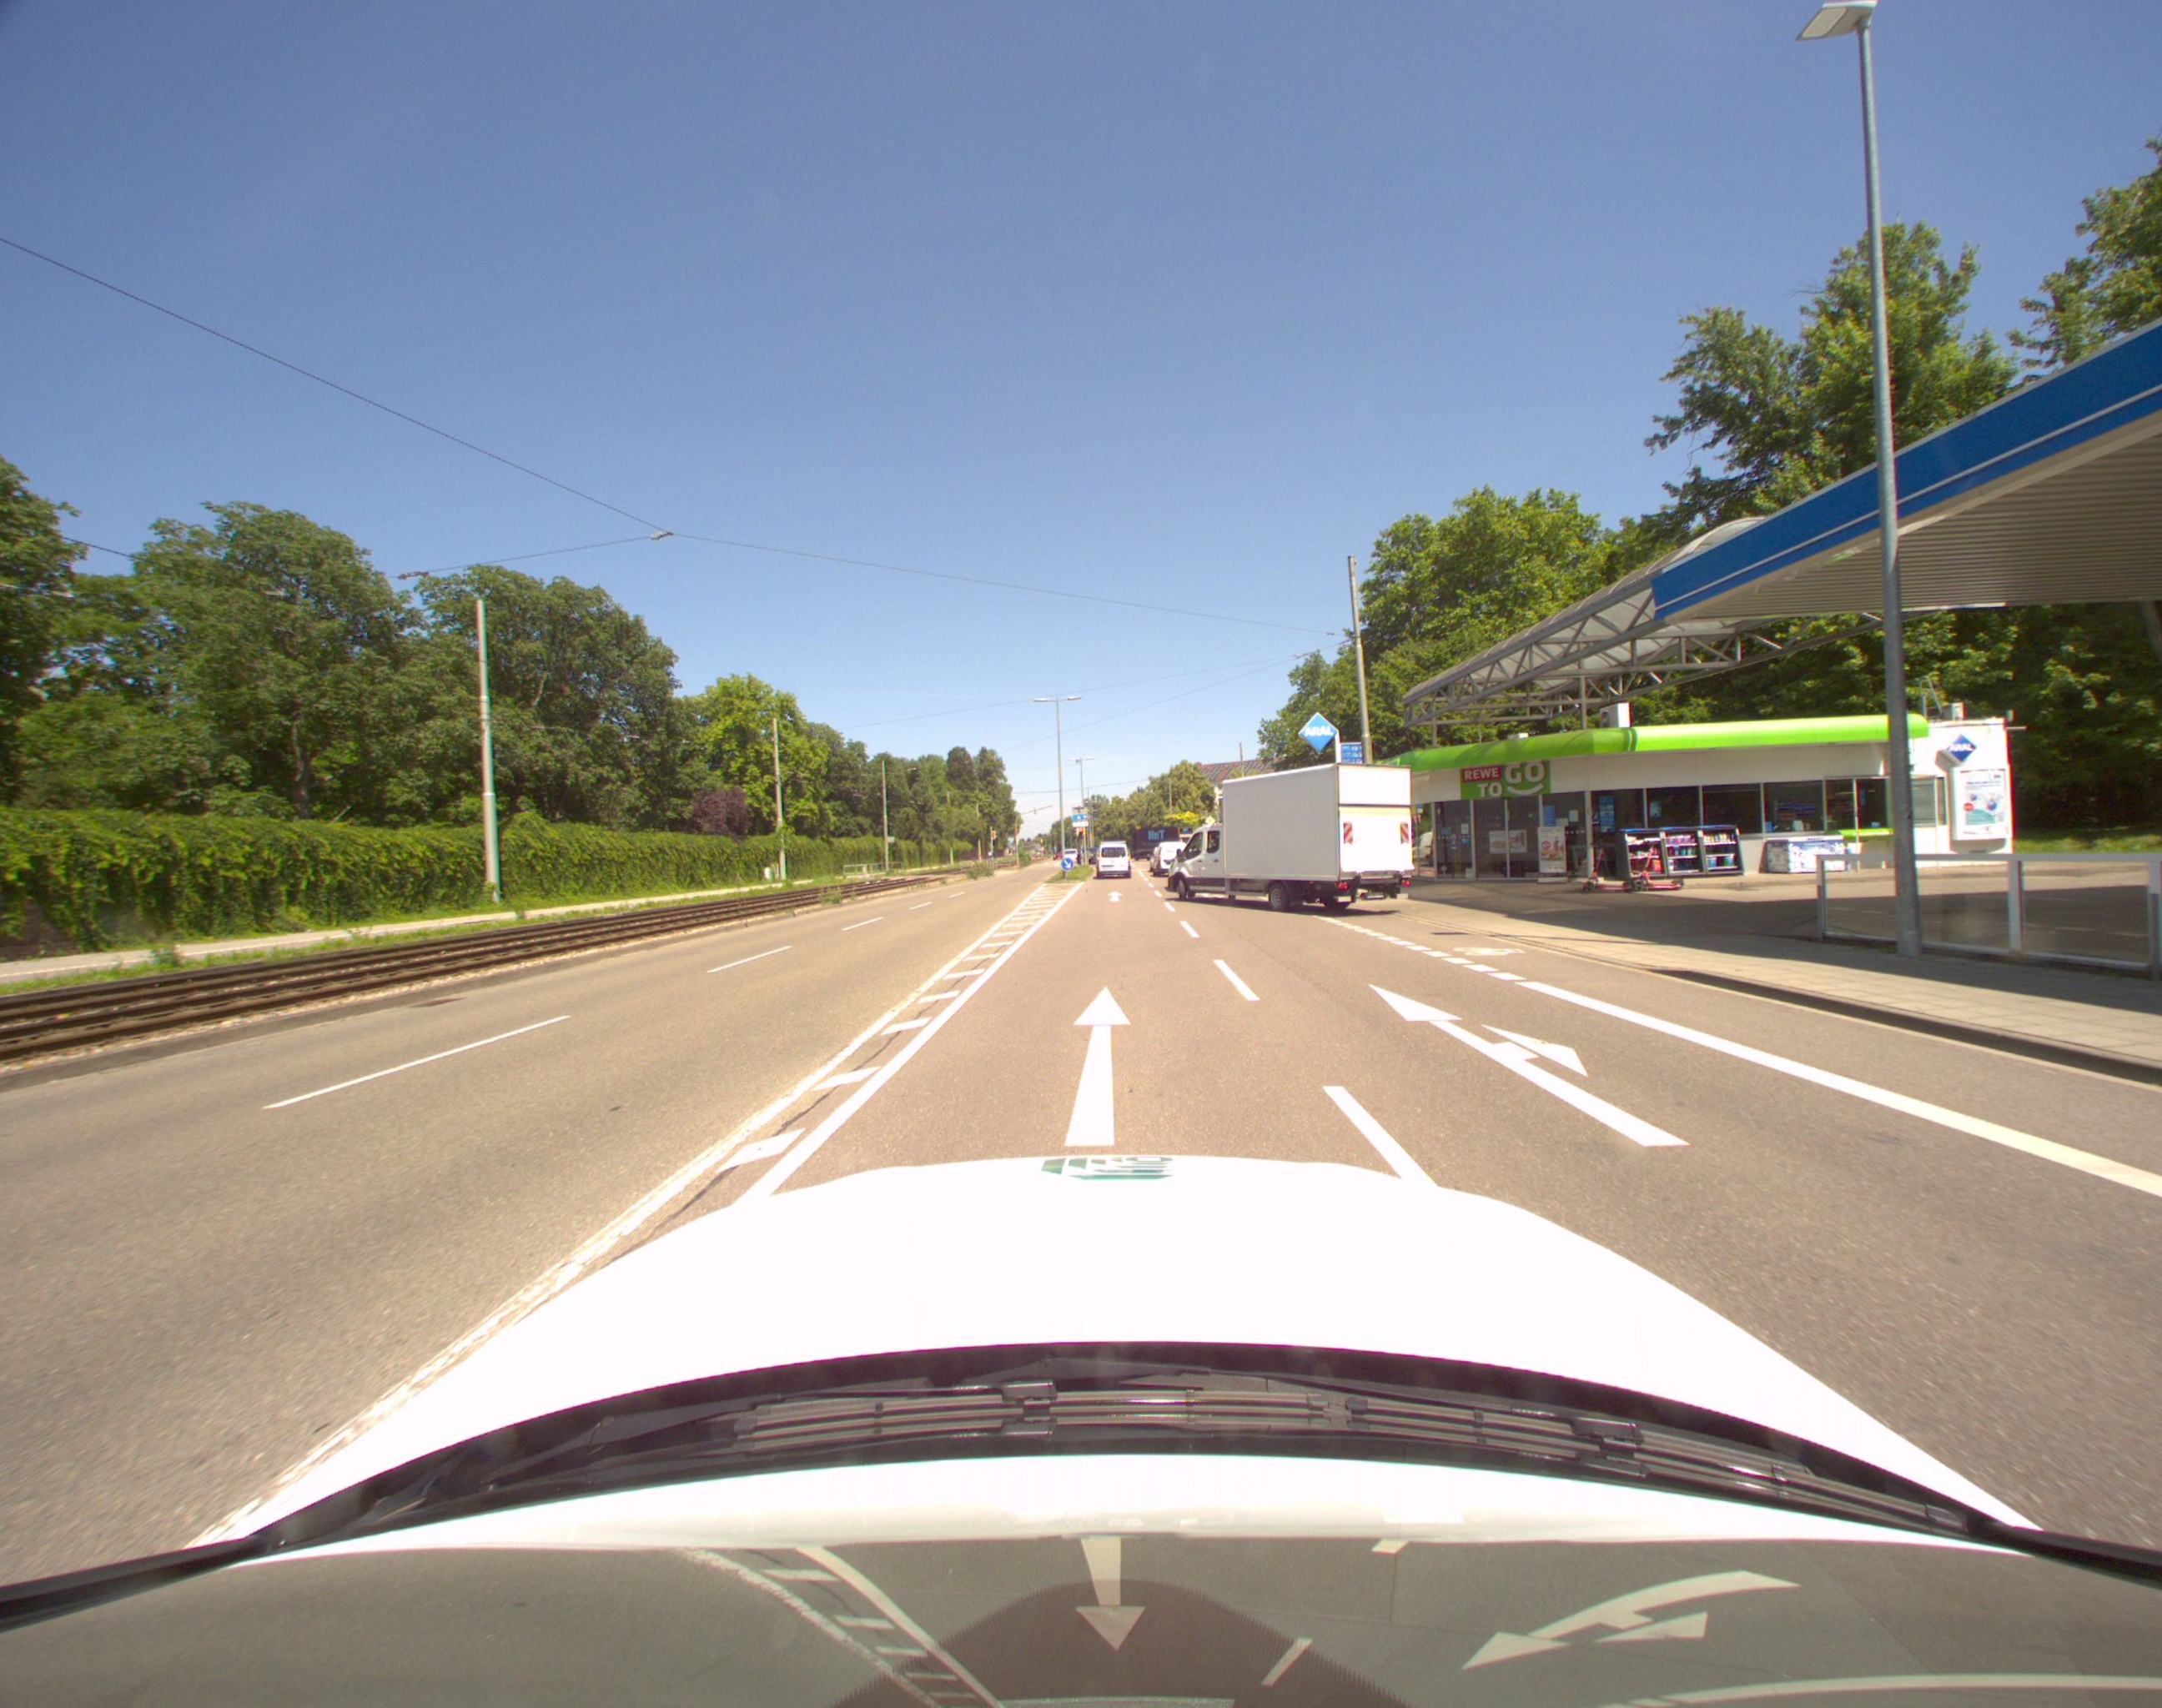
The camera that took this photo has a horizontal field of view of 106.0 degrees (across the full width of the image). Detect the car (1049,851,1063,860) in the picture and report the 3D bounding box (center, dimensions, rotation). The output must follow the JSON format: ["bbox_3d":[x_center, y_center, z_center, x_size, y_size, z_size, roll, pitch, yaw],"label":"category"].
[{"bbox_3d":[-4.134,0.176,136.251,1.975,1.358,4.542,-2,0,3],"label":"car"}]

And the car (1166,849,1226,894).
[{"bbox_3d":[4.125,0.573,29.879,1.788,1.449,4.422,-2,0,3],"label":"car"}]

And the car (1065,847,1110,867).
[{"bbox_3d":[0.639,0.316,79.428,2.010,1.829,4.488,-2,0,-37],"label":"car"}]

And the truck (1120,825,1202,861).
[{"bbox_3d":[8.867,-1.156,90.903,8.698,3.632,3.609,-2,0,45],"label":"truck"}]

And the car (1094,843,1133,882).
[{"bbox_3d":[1.647,0.412,42.020,1.860,1.836,3.850,-2,0,1],"label":"car"}]

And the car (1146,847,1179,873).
[{"bbox_3d":[5.061,0.359,50.835,1.749,1.486,4.002,-2,0,2],"label":"car"}]

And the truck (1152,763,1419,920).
[{"bbox_3d":[4.948,-0.264,21.666,2.432,3.391,7.768,-2,0,-25],"label":"truck"}]

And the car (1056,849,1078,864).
[{"bbox_3d":[-1.616,0.323,93.348,1.991,1.617,4.445,-2,0,-6],"label":"car"}]

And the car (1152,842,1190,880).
[{"bbox_3d":[4.666,0.346,42.724,1.703,1.830,4.016,-2,0,3],"label":"car"}]

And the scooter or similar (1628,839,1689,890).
[{"bbox_3d":[13.738,0.244,19.377,1.130,1.176,0.384,-2,0,3],"label":"scooter or similar"}]

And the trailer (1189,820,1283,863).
[{"bbox_3d":[16.199,-1.299,85.519,8.862,4.050,3.561,-2,0,29],"label":"trailer"}]
